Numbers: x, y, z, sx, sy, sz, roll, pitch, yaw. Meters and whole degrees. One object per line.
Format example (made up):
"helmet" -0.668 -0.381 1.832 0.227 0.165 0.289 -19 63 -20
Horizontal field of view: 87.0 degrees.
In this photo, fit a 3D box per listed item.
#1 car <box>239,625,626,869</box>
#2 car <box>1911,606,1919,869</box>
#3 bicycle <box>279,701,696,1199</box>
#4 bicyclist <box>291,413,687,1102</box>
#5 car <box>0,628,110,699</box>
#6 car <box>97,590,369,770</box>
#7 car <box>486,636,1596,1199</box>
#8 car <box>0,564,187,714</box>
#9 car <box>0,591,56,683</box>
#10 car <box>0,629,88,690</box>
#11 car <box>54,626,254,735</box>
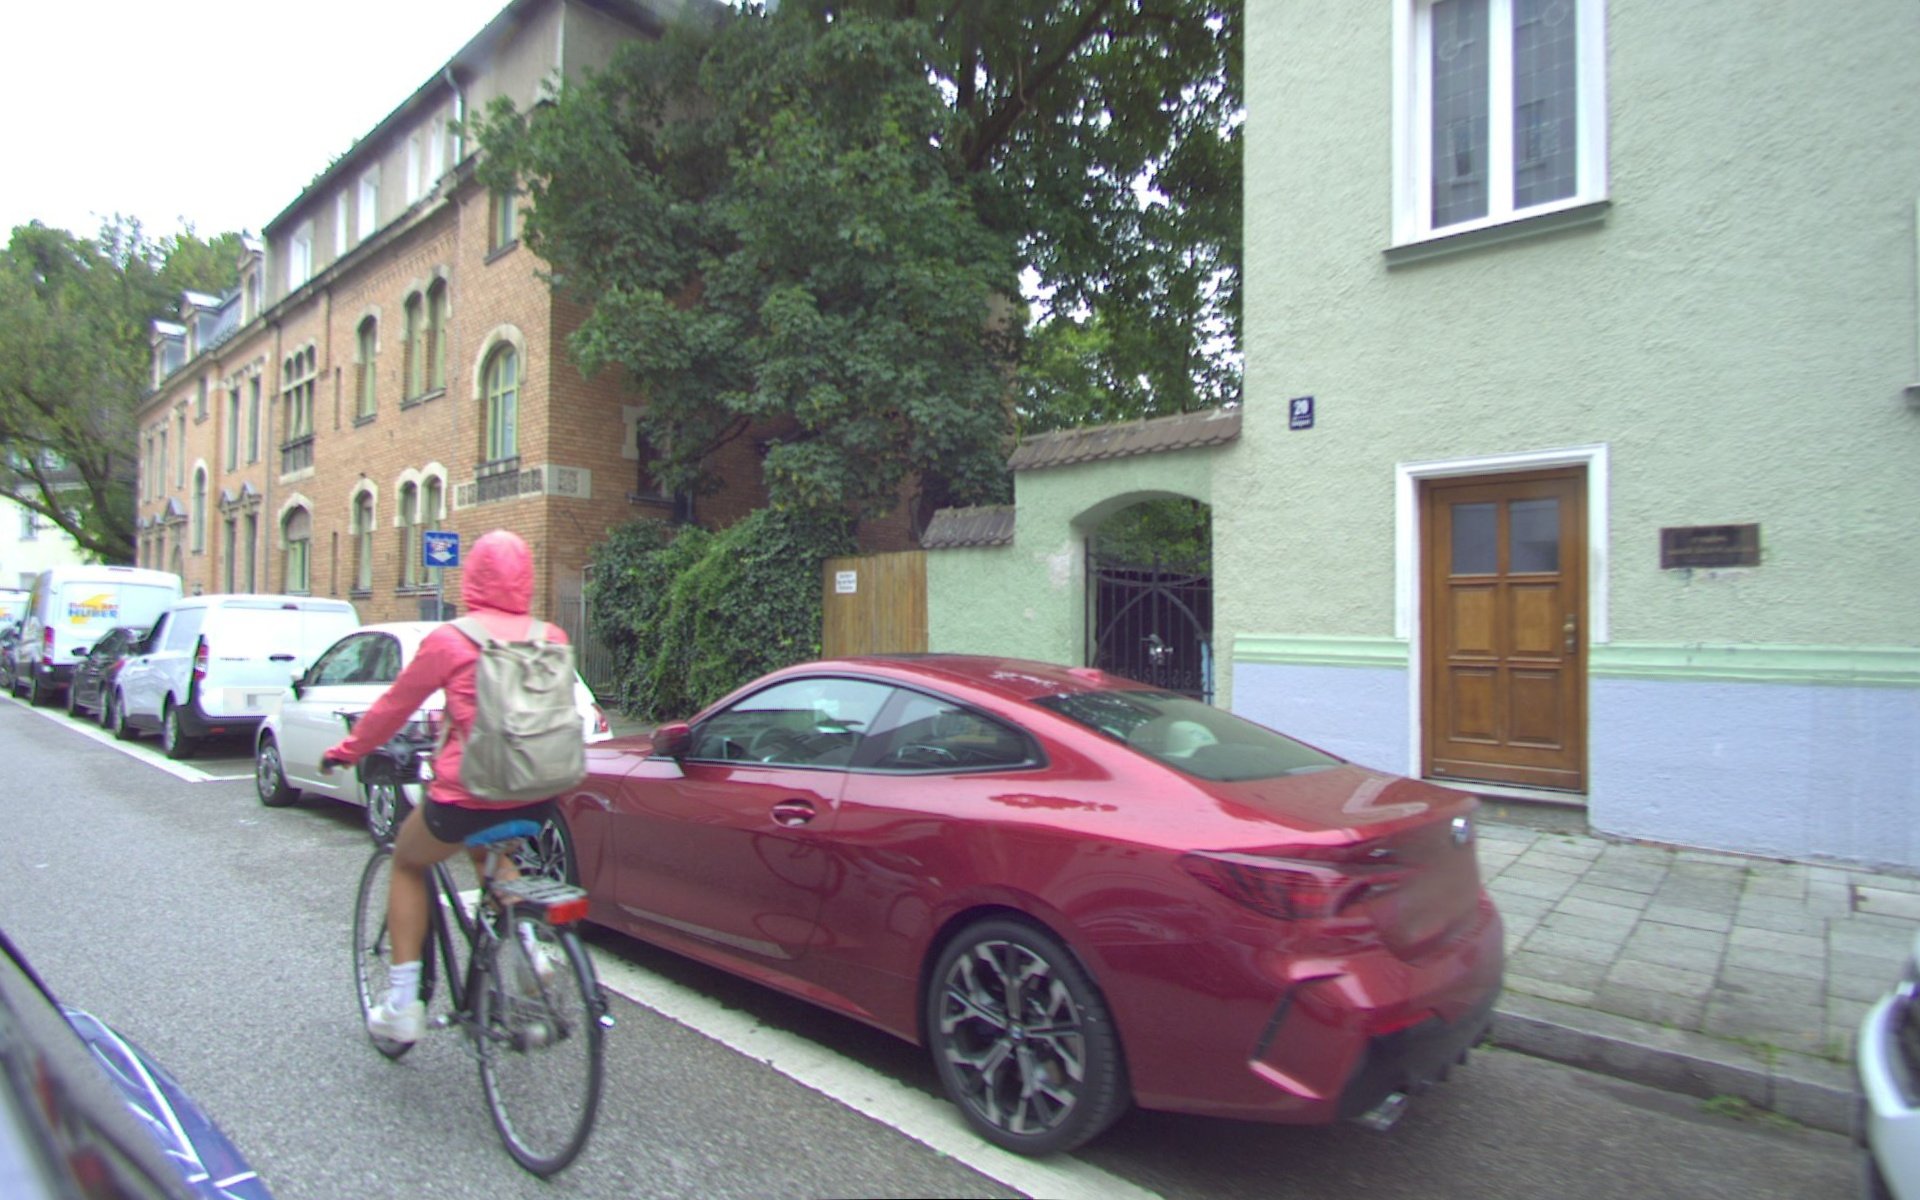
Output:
"car" -4.161 0.959 7.811 3.311 1.478 1.458 -1 -4 40
"car" 3.594 0.750 0.865 3.919 1.615 1.669 -1 -4 41
"bicycle" -1.495 0.922 3.024 1.773 1.137 0.498 -2 -4 44
"bicyclist" -1.365 0.375 2.911 0.967 1.573 0.686 -2 -4 44
"car" -20.425 1.401 22.692 3.539 1.454 1.507 -2 -5 41
"car" -8.886 0.890 12.247 4.142 1.817 1.672 -2 -4 41
"car" -0.031 0.928 4.206 4.331 1.423 1.841 0 -4 41
"car" -16.626 0.740 19.285 5.221 2.497 1.960 -1 -4 42
"car" -28.636 1.115 30.045 4.420 2.560 2.090 -2 -6 42
"car" -24.019 1.522 26.156 3.982 1.454 1.672 -2 -5 41
"car" -12.492 1.165 15.596 4.143 1.454 1.672 -2 -4 42
